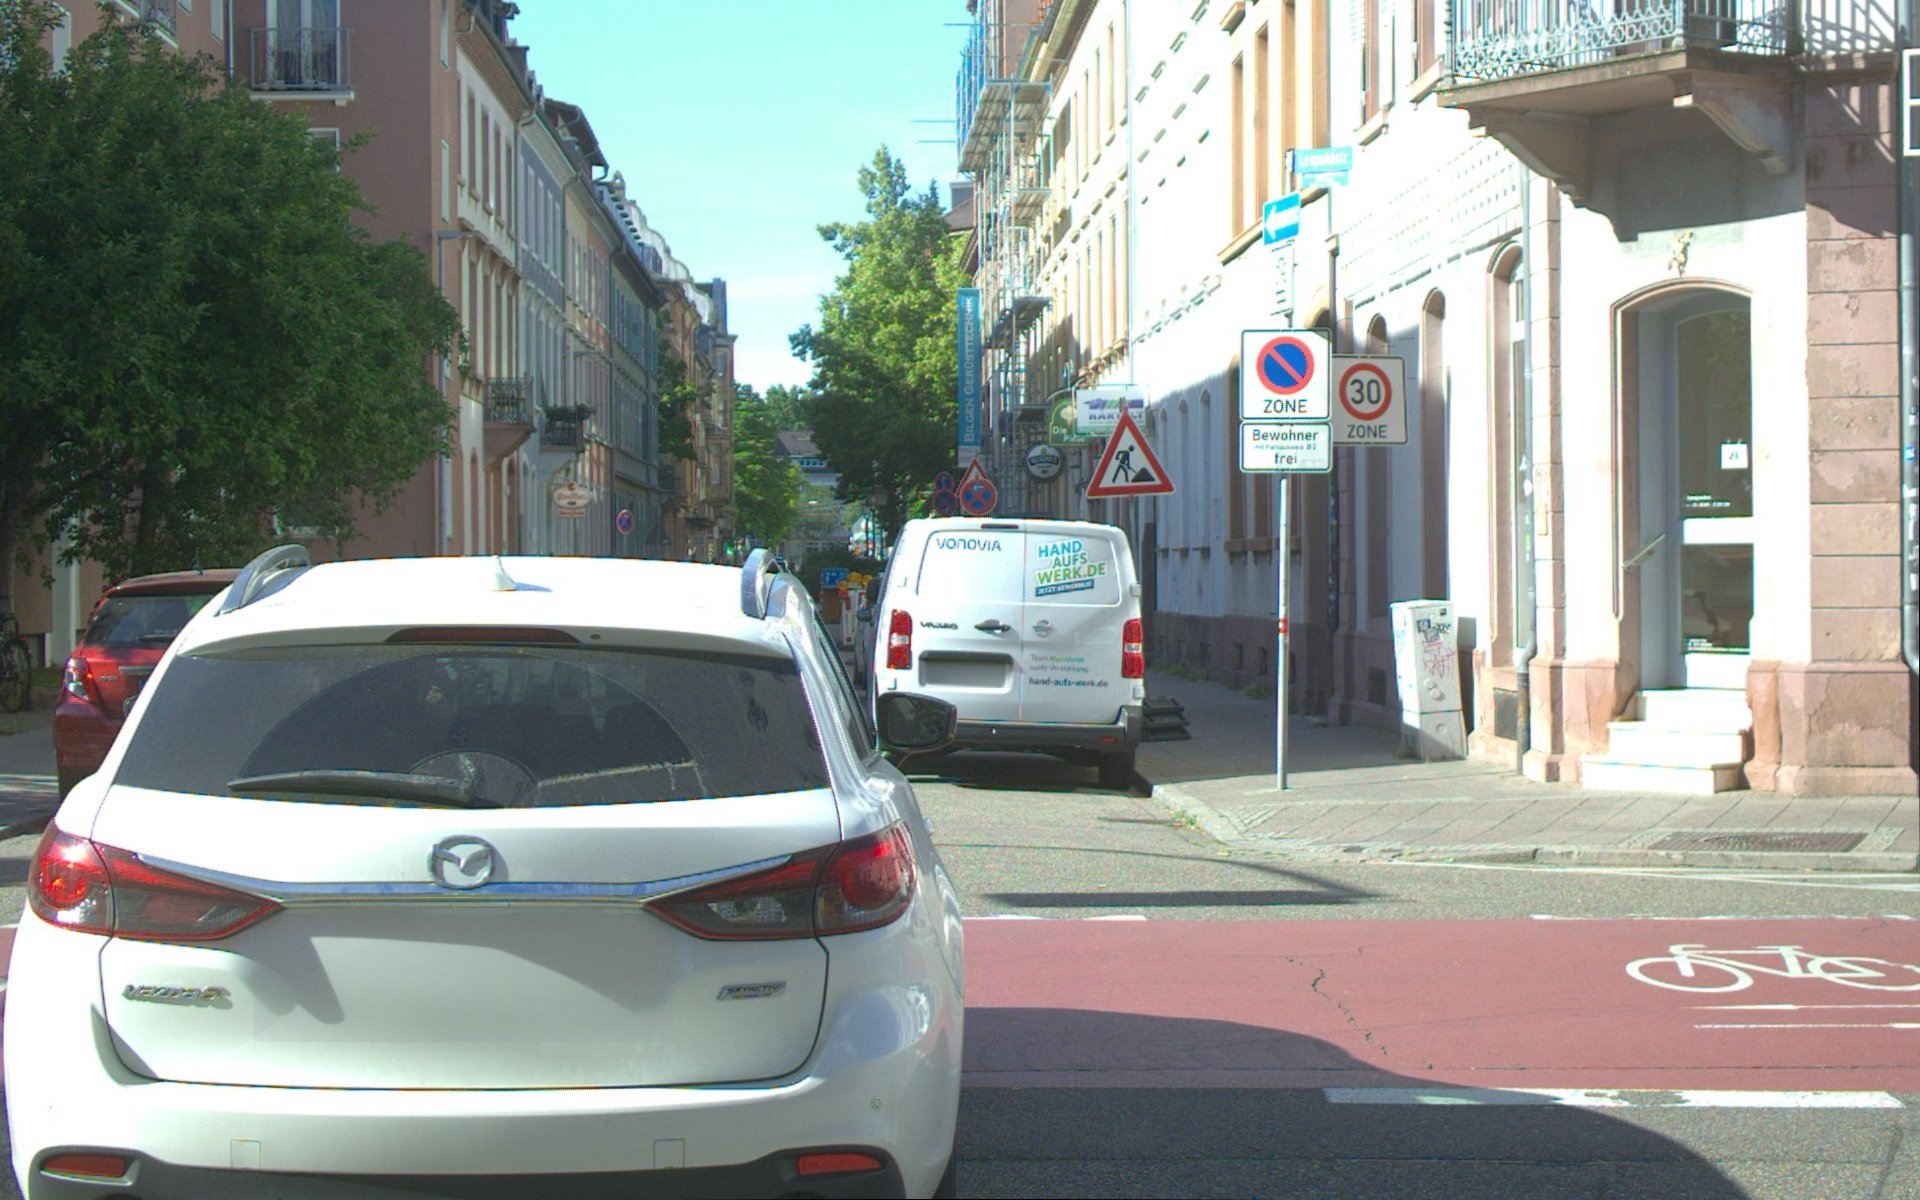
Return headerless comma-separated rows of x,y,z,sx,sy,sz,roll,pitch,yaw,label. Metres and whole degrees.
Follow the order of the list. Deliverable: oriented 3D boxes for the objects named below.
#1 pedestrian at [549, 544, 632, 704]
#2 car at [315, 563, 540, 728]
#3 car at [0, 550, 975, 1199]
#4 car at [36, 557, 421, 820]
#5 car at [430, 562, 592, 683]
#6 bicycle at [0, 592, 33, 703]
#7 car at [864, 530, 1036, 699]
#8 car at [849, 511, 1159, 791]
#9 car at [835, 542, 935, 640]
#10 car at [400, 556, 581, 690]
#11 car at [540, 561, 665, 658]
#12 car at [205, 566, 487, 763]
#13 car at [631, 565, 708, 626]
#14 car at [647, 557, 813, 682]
-3.803,0.237,35.325,0.733,1.608,0.816,-1,0,-13,pedestrian
-5.101,0.396,33.345,1.653,1.495,3.763,0,1,-1,car
-0.930,0.629,7.684,1.831,1.452,3.962,0,1,-1,car
-4.620,0.502,22.204,1.685,1.495,3.807,-2,1,-1,car
-5.732,0.256,44.270,1.653,1.495,3.763,0,1,-1,car
-9.504,0.453,33.444,1.218,1.068,0.253,0,1,38,bicycle
-0.148,0.133,39.877,1.894,1.853,3.995,0,1,-1,car
0.225,0.317,25.942,1.894,1.853,5.015,2,1,-4,car
-1.459,-0.196,67.075,1.894,1.853,3.995,0,1,-1,car
-5.427,0.233,40.132,1.653,1.495,3.763,0,1,-1,car
-5.653,0.124,54.656,1.653,1.495,3.763,0,1,-1,car
-4.970,0.472,28.282,1.653,1.495,4.080,0,1,-1,car
-7.243,-0.127,86.007,1.653,1.495,3.763,0,1,-1,car
-2.685,0.192,40.938,1.760,1.405,4.328,0,1,-1,car
